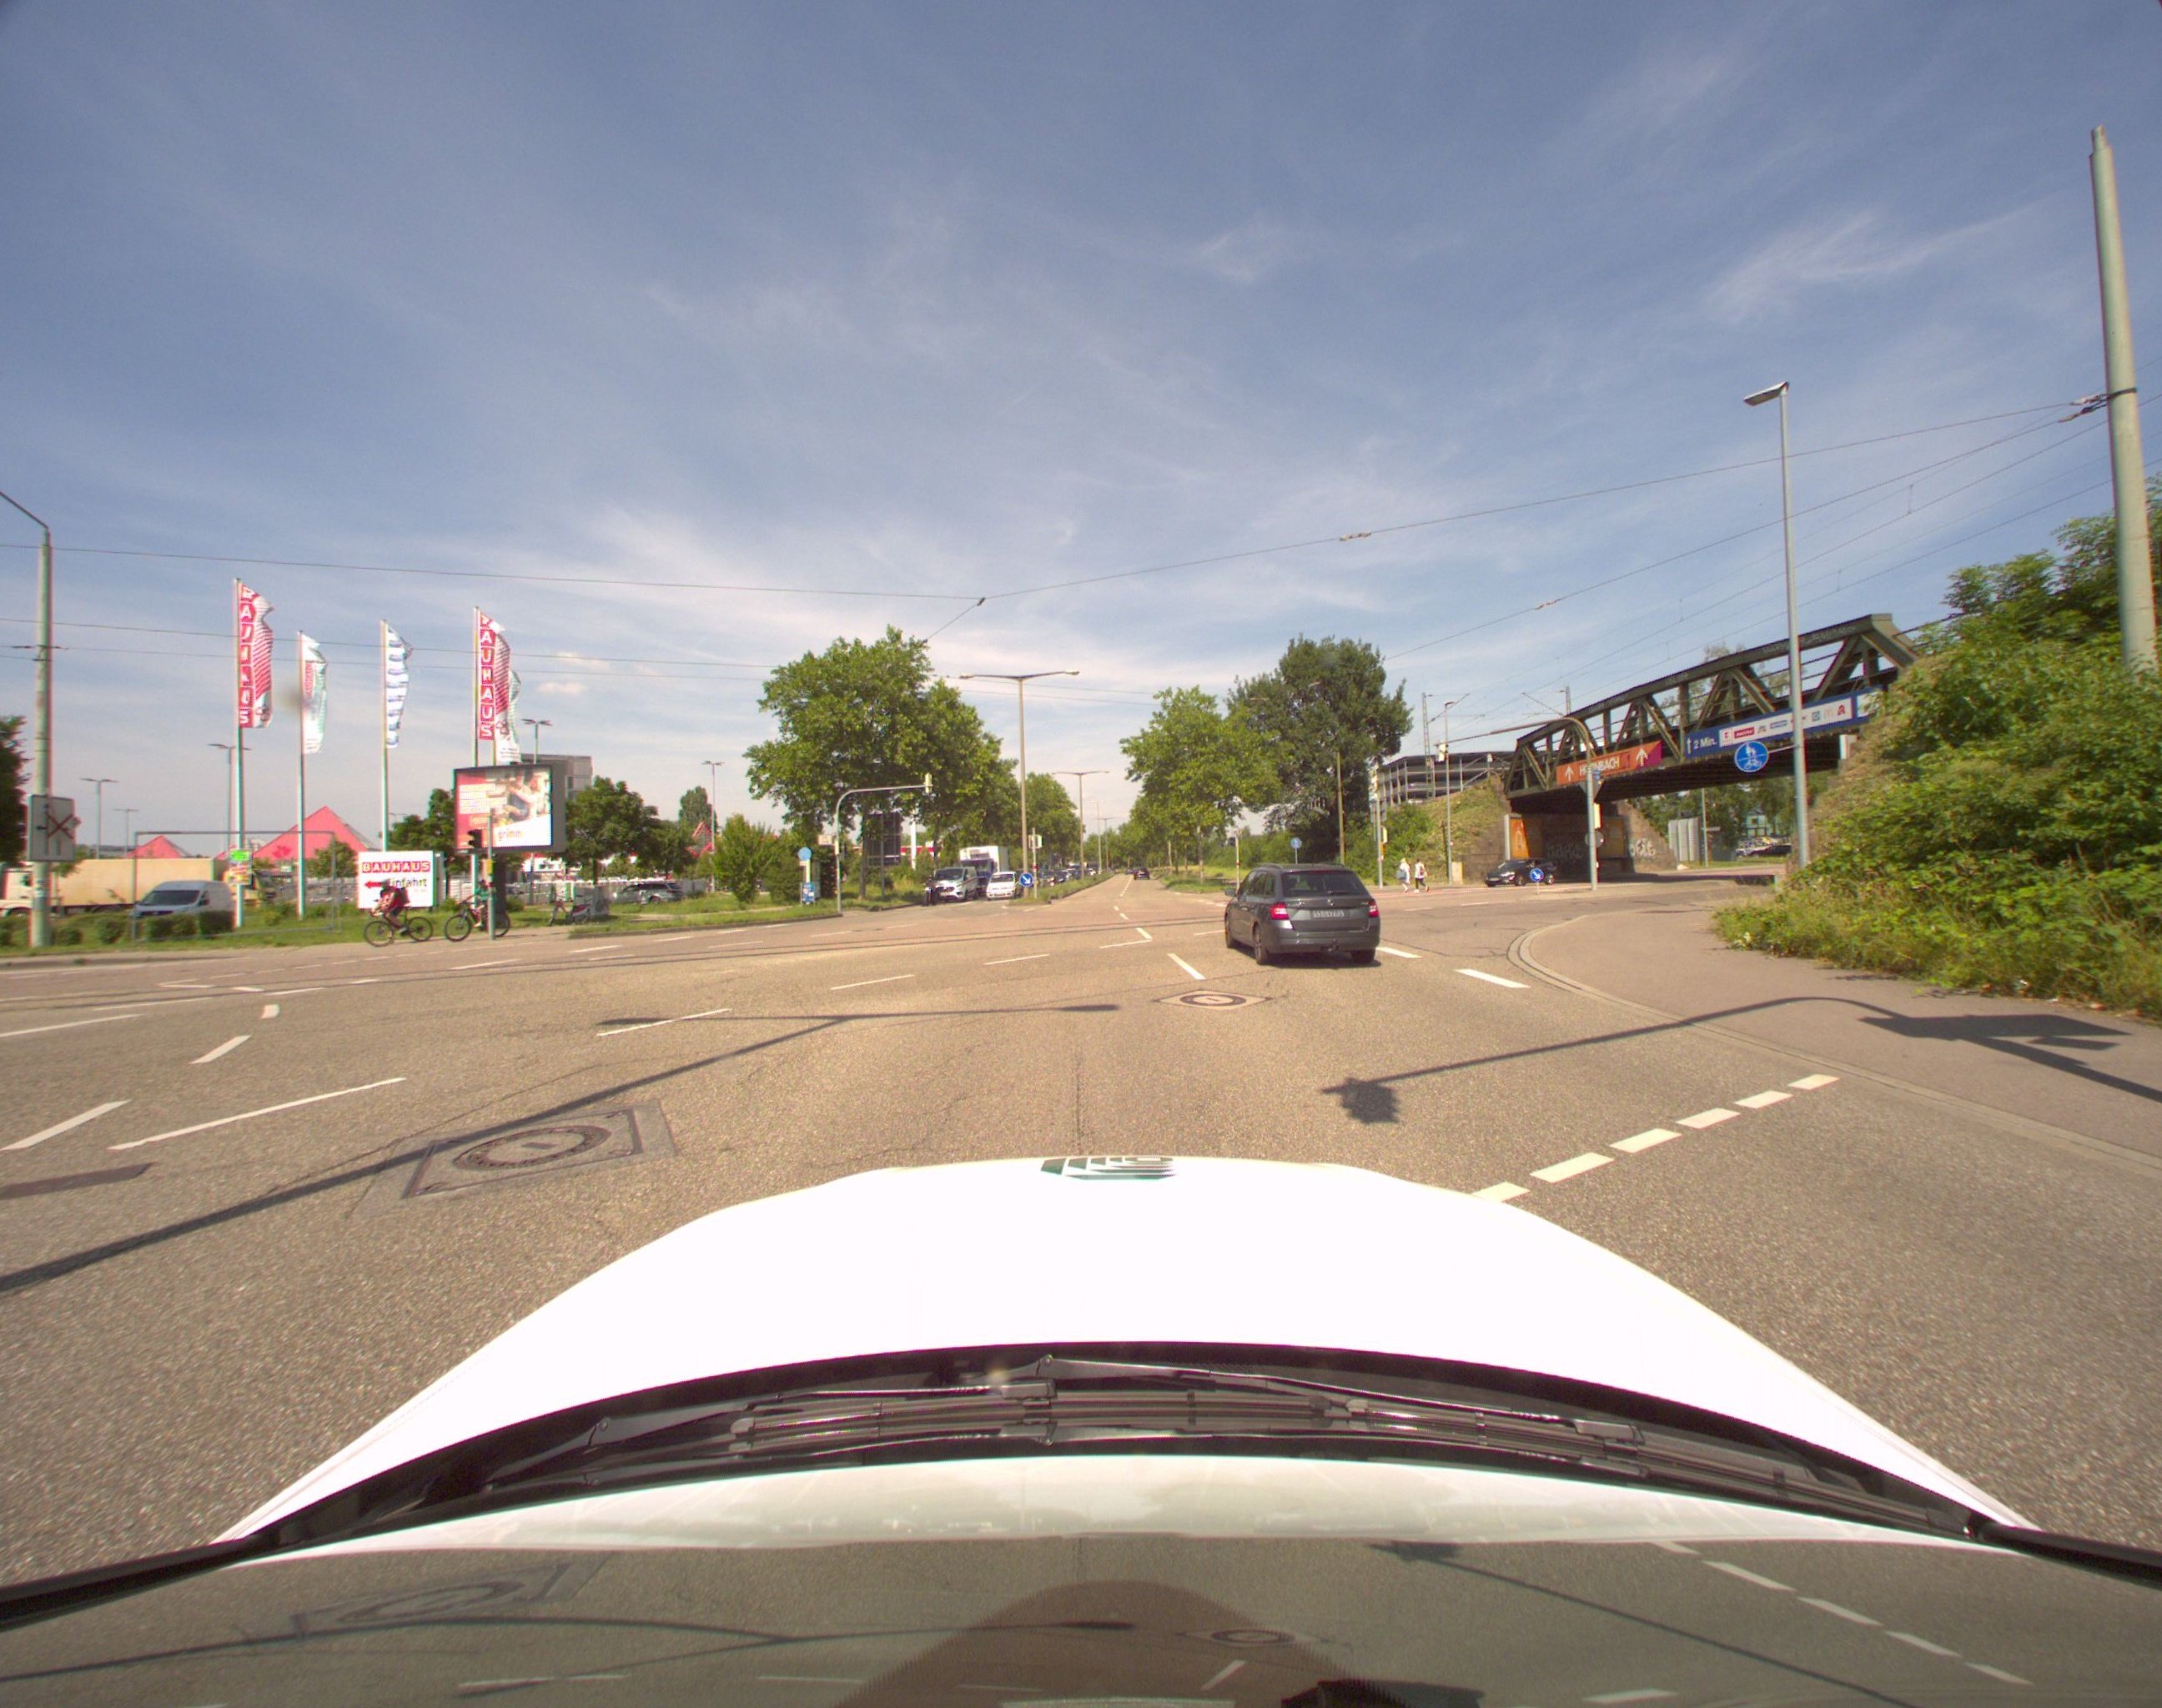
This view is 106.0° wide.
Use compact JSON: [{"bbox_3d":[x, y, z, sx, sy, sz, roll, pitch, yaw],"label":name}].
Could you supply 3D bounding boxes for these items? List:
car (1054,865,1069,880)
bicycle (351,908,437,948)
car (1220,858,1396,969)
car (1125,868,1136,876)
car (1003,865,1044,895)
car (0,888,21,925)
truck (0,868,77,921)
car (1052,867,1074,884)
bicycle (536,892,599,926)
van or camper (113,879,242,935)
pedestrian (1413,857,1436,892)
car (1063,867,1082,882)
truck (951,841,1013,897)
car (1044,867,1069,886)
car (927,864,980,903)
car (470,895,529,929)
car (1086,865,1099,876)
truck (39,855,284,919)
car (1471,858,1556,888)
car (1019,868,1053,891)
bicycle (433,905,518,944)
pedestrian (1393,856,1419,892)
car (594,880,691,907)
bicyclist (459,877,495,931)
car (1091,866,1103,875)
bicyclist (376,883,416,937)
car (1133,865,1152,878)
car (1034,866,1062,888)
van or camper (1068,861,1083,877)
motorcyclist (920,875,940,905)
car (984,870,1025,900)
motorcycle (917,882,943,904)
[{"bbox_3d":[-2.636,2.506,111.248,1.681,1.858,4.040,-3,-1,4],"label":"car"},{"bbox_3d":[-18.386,1.965,21.845,0.430,0.937,1.760,-2,-1,20],"label":"bicycle"},{"bbox_3d":[3.345,0.807,12.780,1.669,1.453,4.035,0,-1,0],"label":"car"},{"bbox_3d":[10.196,3.690,167.871,1.901,1.463,4.582,-2,0,1],"label":"car"},{"bbox_3d":[-3.542,1.616,50.826,1.812,1.647,4.698,-3,-2,4],"label":"car"},{"bbox_3d":[-75.027,3.638,54.691,2.395,2.529,6.069,-1,-1,-28],"label":"car"},{"bbox_3d":[-63.519,2.380,45.023,9.650,2.892,2.896,-1,-1,-33],"label":"truck"},{"bbox_3d":[-1.715,2.028,77.238,1.681,1.472,3.818,-3,-1,4],"label":"car"},{"bbox_3d":[-17.762,1.890,28.219,0.589,1.037,1.904,-2,-1,18],"label":"bicycle"},{"bbox_3d":[-39.730,2.252,36.006,2.203,2.210,5.465,-1,-1,-30],"label":"van or camper"},{"bbox_3d":[15.813,0.927,37.505,0.726,1.579,0.778,-2,-1,3],"label":"pedestrian"},{"bbox_3d":[-0.909,2.204,89.919,1.777,1.489,4.214,-3,-1,3],"label":"car"},{"bbox_3d":[-6.686,0.980,55.827,2.792,3.471,6.698,-4,-1,4],"label":"truck"},{"bbox_3d":[-2.129,1.925,71.611,1.681,1.473,4.222,-4,-1,4],"label":"car"},{"bbox_3d":[-7.090,1.593,45.822,1.969,1.999,5.033,-2,-1,1],"label":"car"},{"bbox_3d":[-30.533,2.979,42.709,2.212,1.572,4.523,-1,-1,-39],"label":"car"},{"bbox_3d":[1.751,2.553,123.944,1.681,1.510,3.818,-3,-1,4],"label":"car"},{"bbox_3d":[-53.320,1.807,47.717,8.960,3.311,3.127,-1,-1,-34],"label":"truck"},{"bbox_3d":[22.785,0.995,42.843,4.518,1.409,1.979,-1,-1,-33],"label":"car"},{"bbox_3d":[-3.155,1.765,57.706,1.788,1.468,4.528,-3,-1,4],"label":"car"},{"bbox_3d":[-16.970,1.953,22.898,0.412,0.937,2.007,-2,-1,21],"label":"bicycle"},{"bbox_3d":[15.001,0.926,37.574,0.864,1.612,0.778,-2,-1,3],"label":"pedestrian"},{"bbox_3d":[-26.002,2.332,48.438,4.552,1.414,2.198,-2,-1,-4],"label":"car"},{"bbox_3d":[-17.014,1.392,22.953,0.523,1.491,0.612,-2,-1,20],"label":"bicyclist"},{"bbox_3d":[2.780,2.842,140.533,1.681,1.530,3.818,-3,-2,4],"label":"car"},{"bbox_3d":[-18.417,1.494,21.899,0.523,1.414,0.612,-2,-1,20],"label":"bicyclist"},{"bbox_3d":[7.098,1.989,94.233,1.901,1.463,4.621,-2,-1,1],"label":"car"},{"bbox_3d":[-2.590,1.807,64.249,1.681,1.586,4.244,-3,-1,4],"label":"car"},{"bbox_3d":[-0.845,2.458,138.432,2.006,2.588,5.522,-3,-1,4],"label":"van or camper"},{"bbox_3d":[-7.571,1.812,40.868,0.740,1.470,0.988,-2,-1,4],"label":"motorcyclist"},{"bbox_3d":[-4.197,1.700,44.977,1.586,1.477,3.733,-3,-1,4],"label":"car"},{"bbox_3d":[-7.542,1.930,40.770,0.685,0.991,2.219,-2,-1,4],"label":"motorcycle"}]
